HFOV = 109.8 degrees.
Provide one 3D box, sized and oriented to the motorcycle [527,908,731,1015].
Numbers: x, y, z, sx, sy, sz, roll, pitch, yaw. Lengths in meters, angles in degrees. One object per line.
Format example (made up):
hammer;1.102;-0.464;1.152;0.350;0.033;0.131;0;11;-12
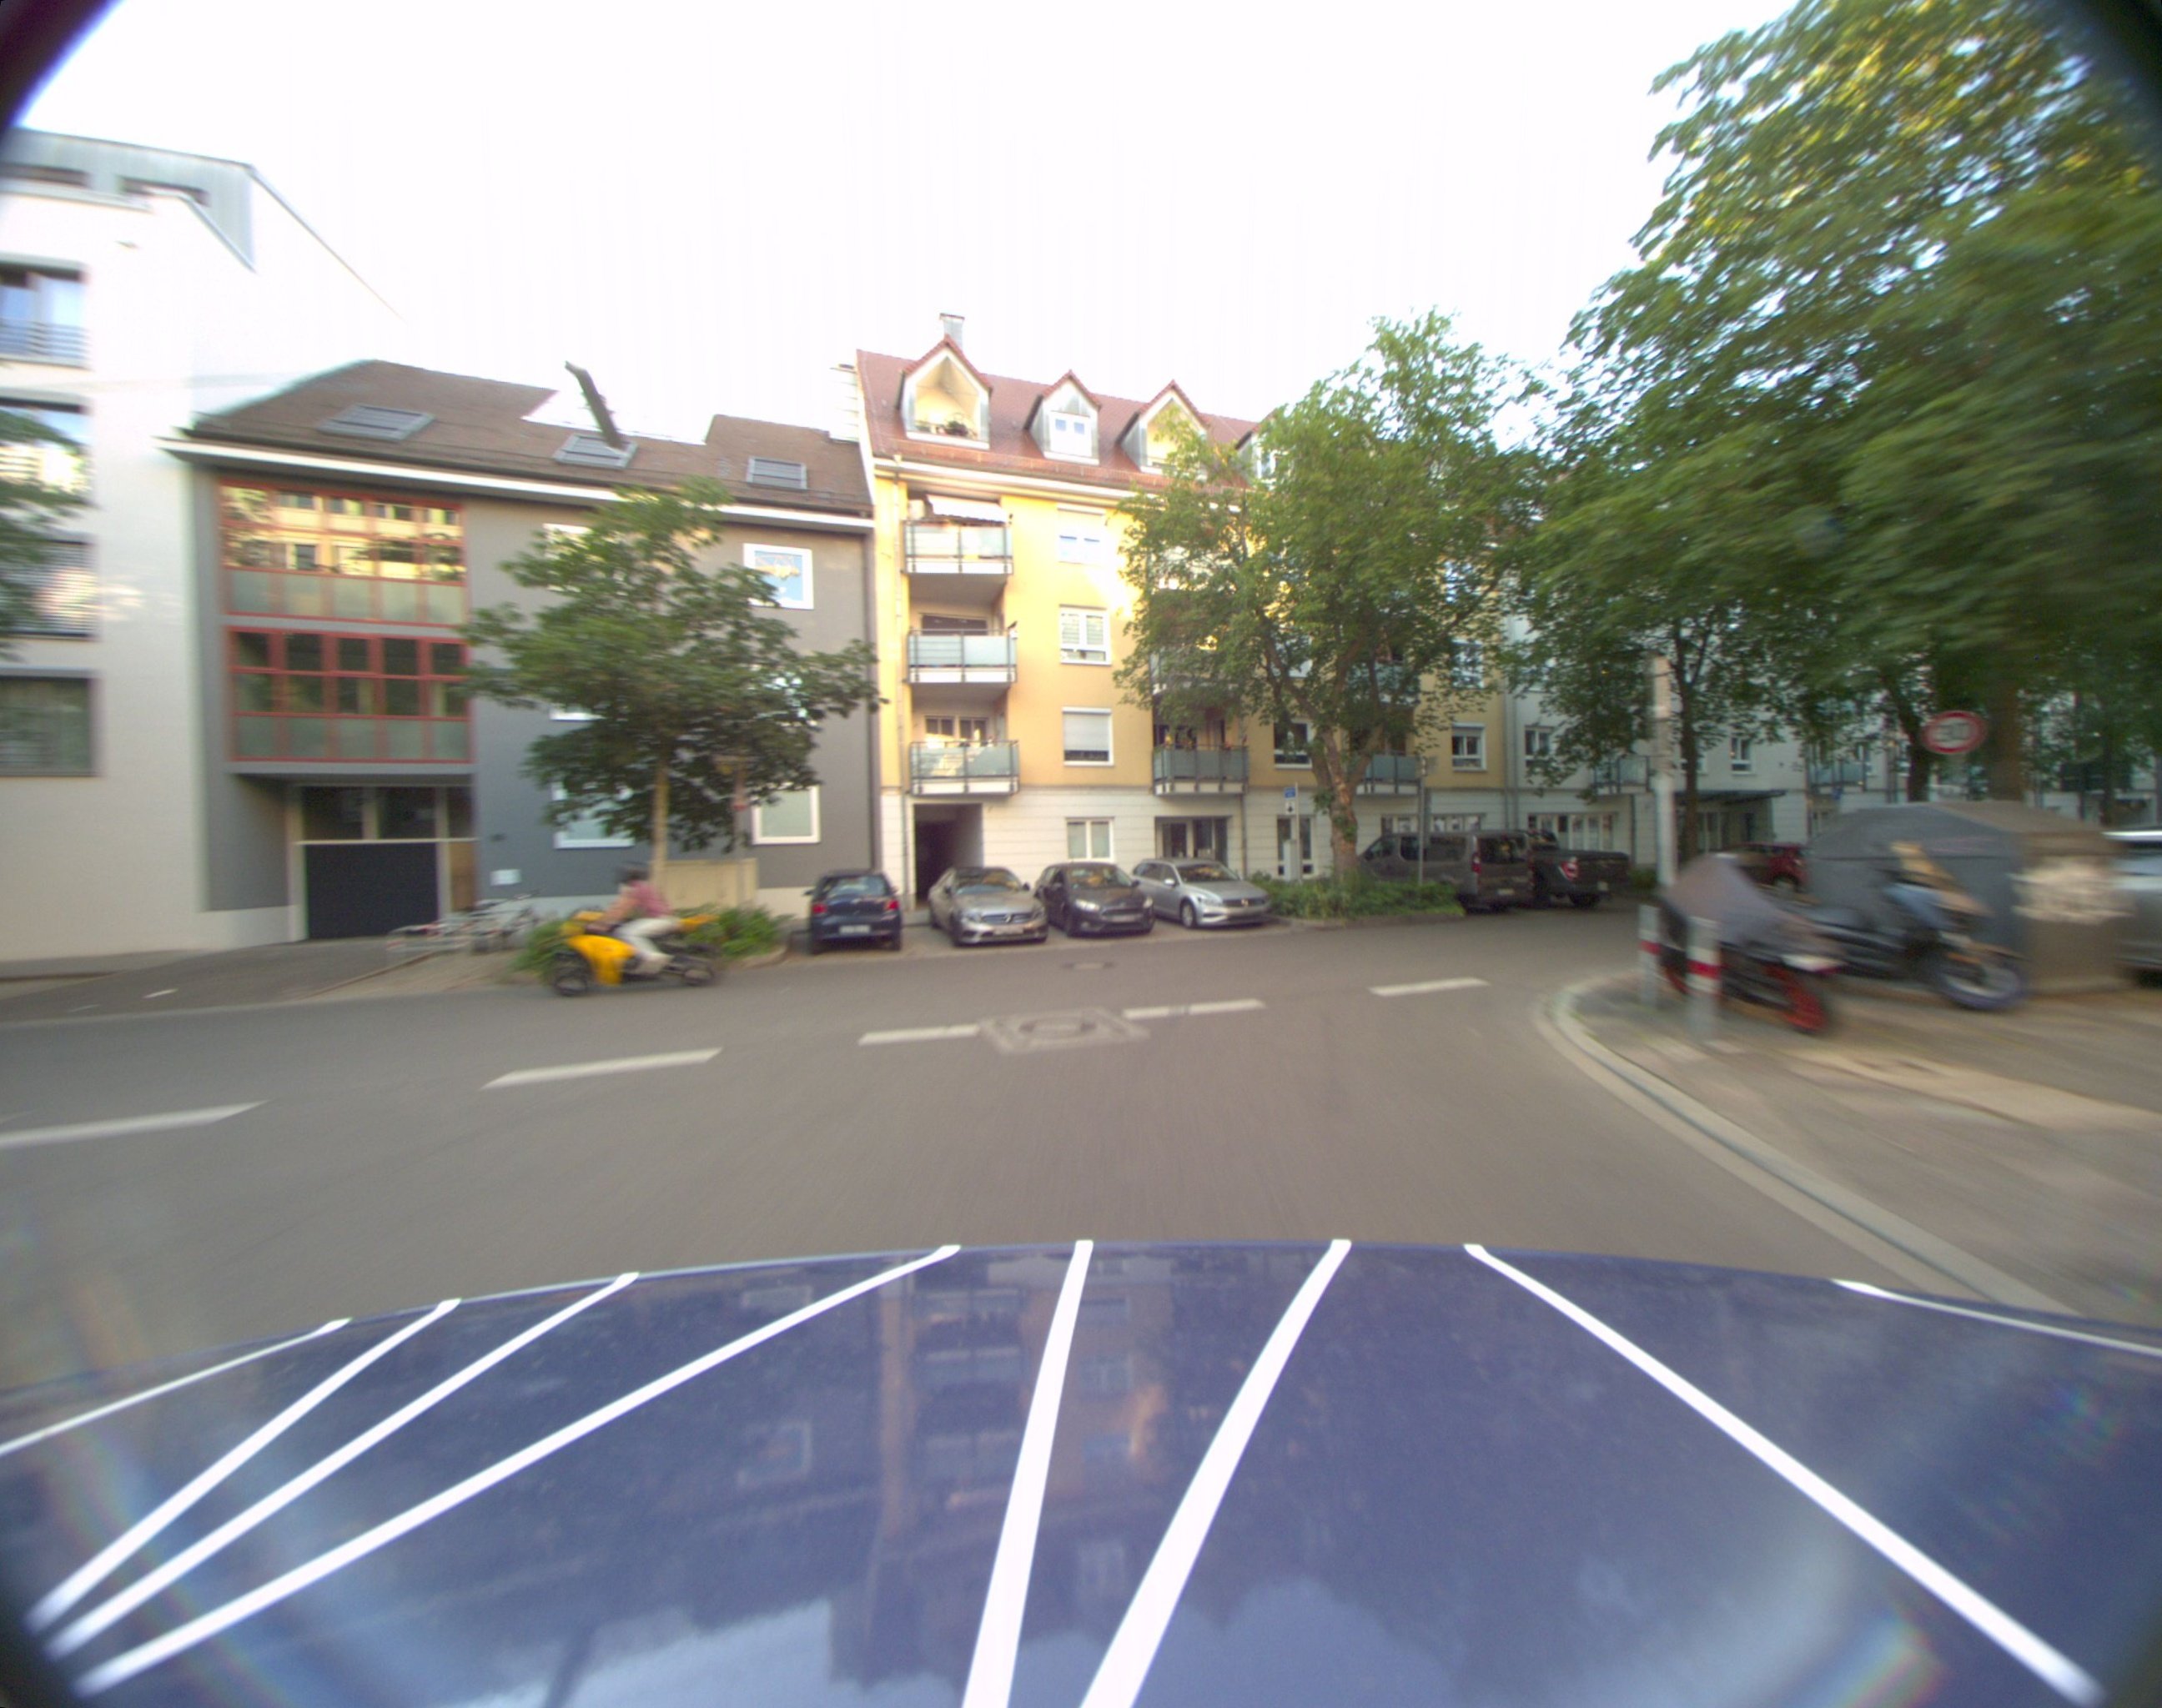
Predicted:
motorcycle;-5.648;1.311;9.653;2.110;1.115;0.735;-2;0;-22

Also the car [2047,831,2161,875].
car;37.827;-0.050;26.944;1.915;1.466;3.991;-2;3;-23

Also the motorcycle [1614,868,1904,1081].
motorcycle;5.286;0.828;6.174;0.722;1.366;2.226;-2;0;12

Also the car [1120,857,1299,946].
car;2.709;0.984;17.410;1.838;1.694;4.804;-2;-1;-21

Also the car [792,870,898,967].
car;-4.676;1.158;15.042;1.747;1.517;3.355;-2;2;-18

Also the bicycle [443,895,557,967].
bicycle;-10.905;1.423;14.324;1.501;1.166;0.726;-2;4;-18

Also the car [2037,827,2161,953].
car;15.732;0.404;9.381;2.066;1.674;4.404;-1;-2;-21

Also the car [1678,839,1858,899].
car;20.921;0.384;23.315;1.782;1.540;3.668;-3;4;-21

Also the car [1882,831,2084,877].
car;33.953;-0.074;28.811;1.774;1.543;4.578;-2;2;-19

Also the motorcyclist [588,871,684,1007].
motorcyclist;-5.634;1.037;9.671;0.916;1.604;0.721;-2;0;-22

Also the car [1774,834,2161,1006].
car;10.704;0.617;8.027;2.056;1.571;4.508;-2;-2;-18

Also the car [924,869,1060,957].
car;-2.013;1.095;15.856;1.874;1.499;4.287;-2;-1;-20

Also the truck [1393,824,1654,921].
truck;11.457;0.293;20.415;2.262;2.122;6.011;-2;3;-19

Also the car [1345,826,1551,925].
car;9.105;0.386;19.383;2.038;2.122;4.625;-2;3;-19

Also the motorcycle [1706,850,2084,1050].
motorcycle;7.114;0.738;6.860;0.691;1.485;2.221;-2;0;-17

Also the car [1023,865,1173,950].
car;0.210;1.061;16.640;1.855;1.554;4.074;-2;-1;-21

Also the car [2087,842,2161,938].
car;17.746;0.475;10.178;2.073;1.416;4.724;-2;-1;-21
